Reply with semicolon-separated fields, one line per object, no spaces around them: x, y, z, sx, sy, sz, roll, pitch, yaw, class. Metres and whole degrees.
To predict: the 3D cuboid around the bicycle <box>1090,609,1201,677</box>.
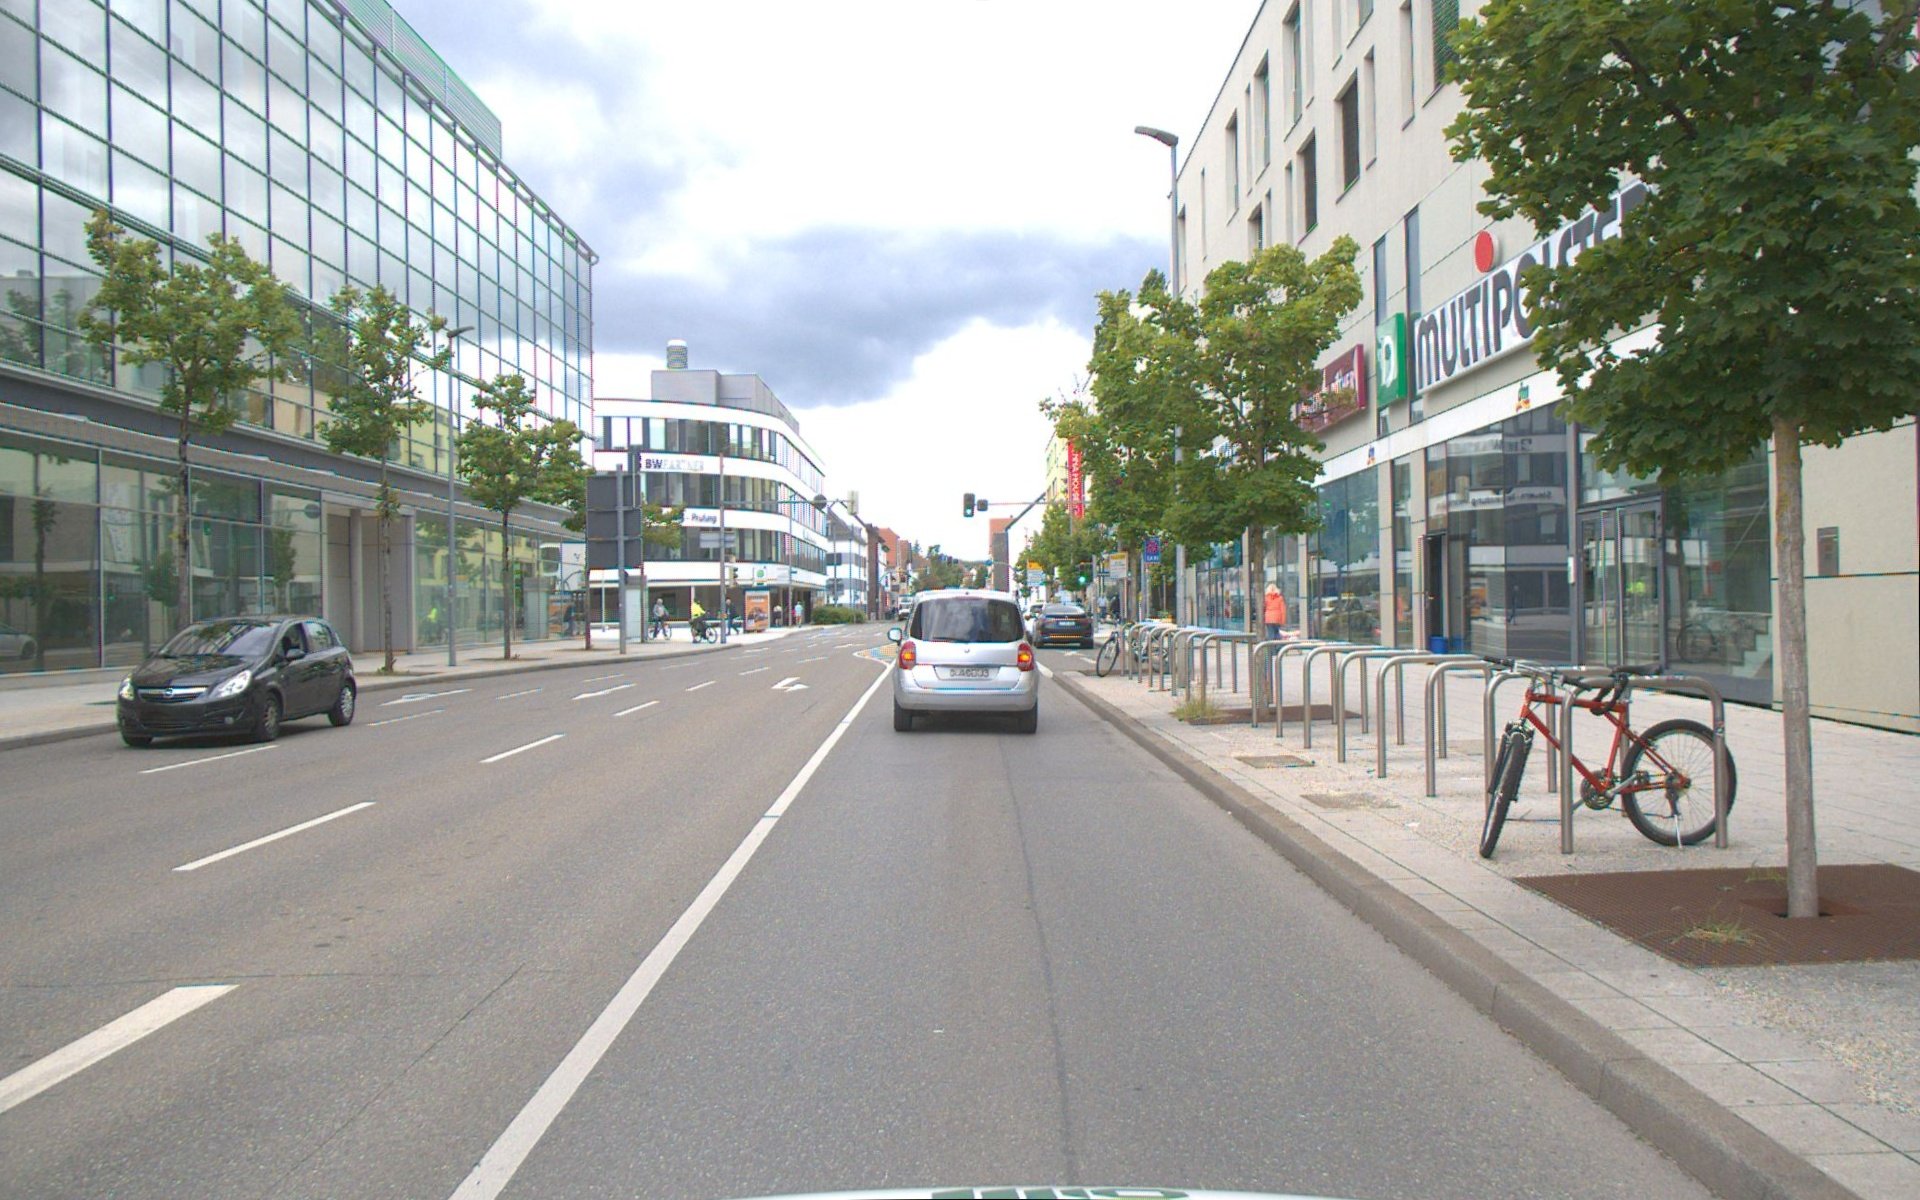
3.223;0.733;28.850;1.788;1.093;0.752;-2;0;-2;bicycle

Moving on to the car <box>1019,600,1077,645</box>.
3.136;0.784;59.628;1.839;1.535;4.000;1;0;0;car

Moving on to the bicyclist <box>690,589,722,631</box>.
-10.378;0.412;67.645;0.996;1.689;0.923;2;-1;-32;bicyclist

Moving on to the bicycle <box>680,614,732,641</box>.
-10.386;1.121;67.625;0.996;1.036;3.097;1;-1;-31;bicycle

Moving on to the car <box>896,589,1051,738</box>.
0.078;0.684;19.698;1.636;1.581;3.640;1;0;-3;car

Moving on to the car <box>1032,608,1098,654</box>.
3.344;0.969;53.072;1.839;1.358;4.000;1;0;0;car

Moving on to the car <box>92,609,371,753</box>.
-8.788;0.910;20.334;1.626;1.506;4.000;-2;0;0;car

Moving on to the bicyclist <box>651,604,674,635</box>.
-13.111;0.843;72.894;0.819;1.350;0.644;-1;0;-33;bicyclist

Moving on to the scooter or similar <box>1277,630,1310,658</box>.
7.224;0.953;35.863;0.539;0.555;0.642;-4;0;0;scooter or similar

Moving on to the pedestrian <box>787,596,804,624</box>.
-11.035;0.684;111.055;0.941;1.865;1.250;-1;0;0;pedestrian

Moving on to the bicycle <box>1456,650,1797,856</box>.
3.540;0.801;8.891;1.528;1.010;0.752;-1;0;3;bicycle

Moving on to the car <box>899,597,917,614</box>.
-6.676;0.719;212.774;2.126;2.049;4.258;-1;0;0;car

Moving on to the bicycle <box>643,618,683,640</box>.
-13.104;1.270;72.889;0.819;0.914;2.497;-1;0;-33;bicycle

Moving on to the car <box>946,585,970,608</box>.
-0.187;-0.360;155.171;2.126;2.049;4.258;-1;0;0;car

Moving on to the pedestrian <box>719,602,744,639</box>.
-11.891;1.063;85.998;1.223;1.865;0.962;-2;0;-8;pedestrian

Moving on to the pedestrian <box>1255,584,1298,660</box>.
7.006;0.481;36.616;0.696;1.601;0.812;-4;0;0;pedestrian

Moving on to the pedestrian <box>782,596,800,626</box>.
-10.785;0.682;105.607;0.941;1.865;1.250;-1;0;0;pedestrian
